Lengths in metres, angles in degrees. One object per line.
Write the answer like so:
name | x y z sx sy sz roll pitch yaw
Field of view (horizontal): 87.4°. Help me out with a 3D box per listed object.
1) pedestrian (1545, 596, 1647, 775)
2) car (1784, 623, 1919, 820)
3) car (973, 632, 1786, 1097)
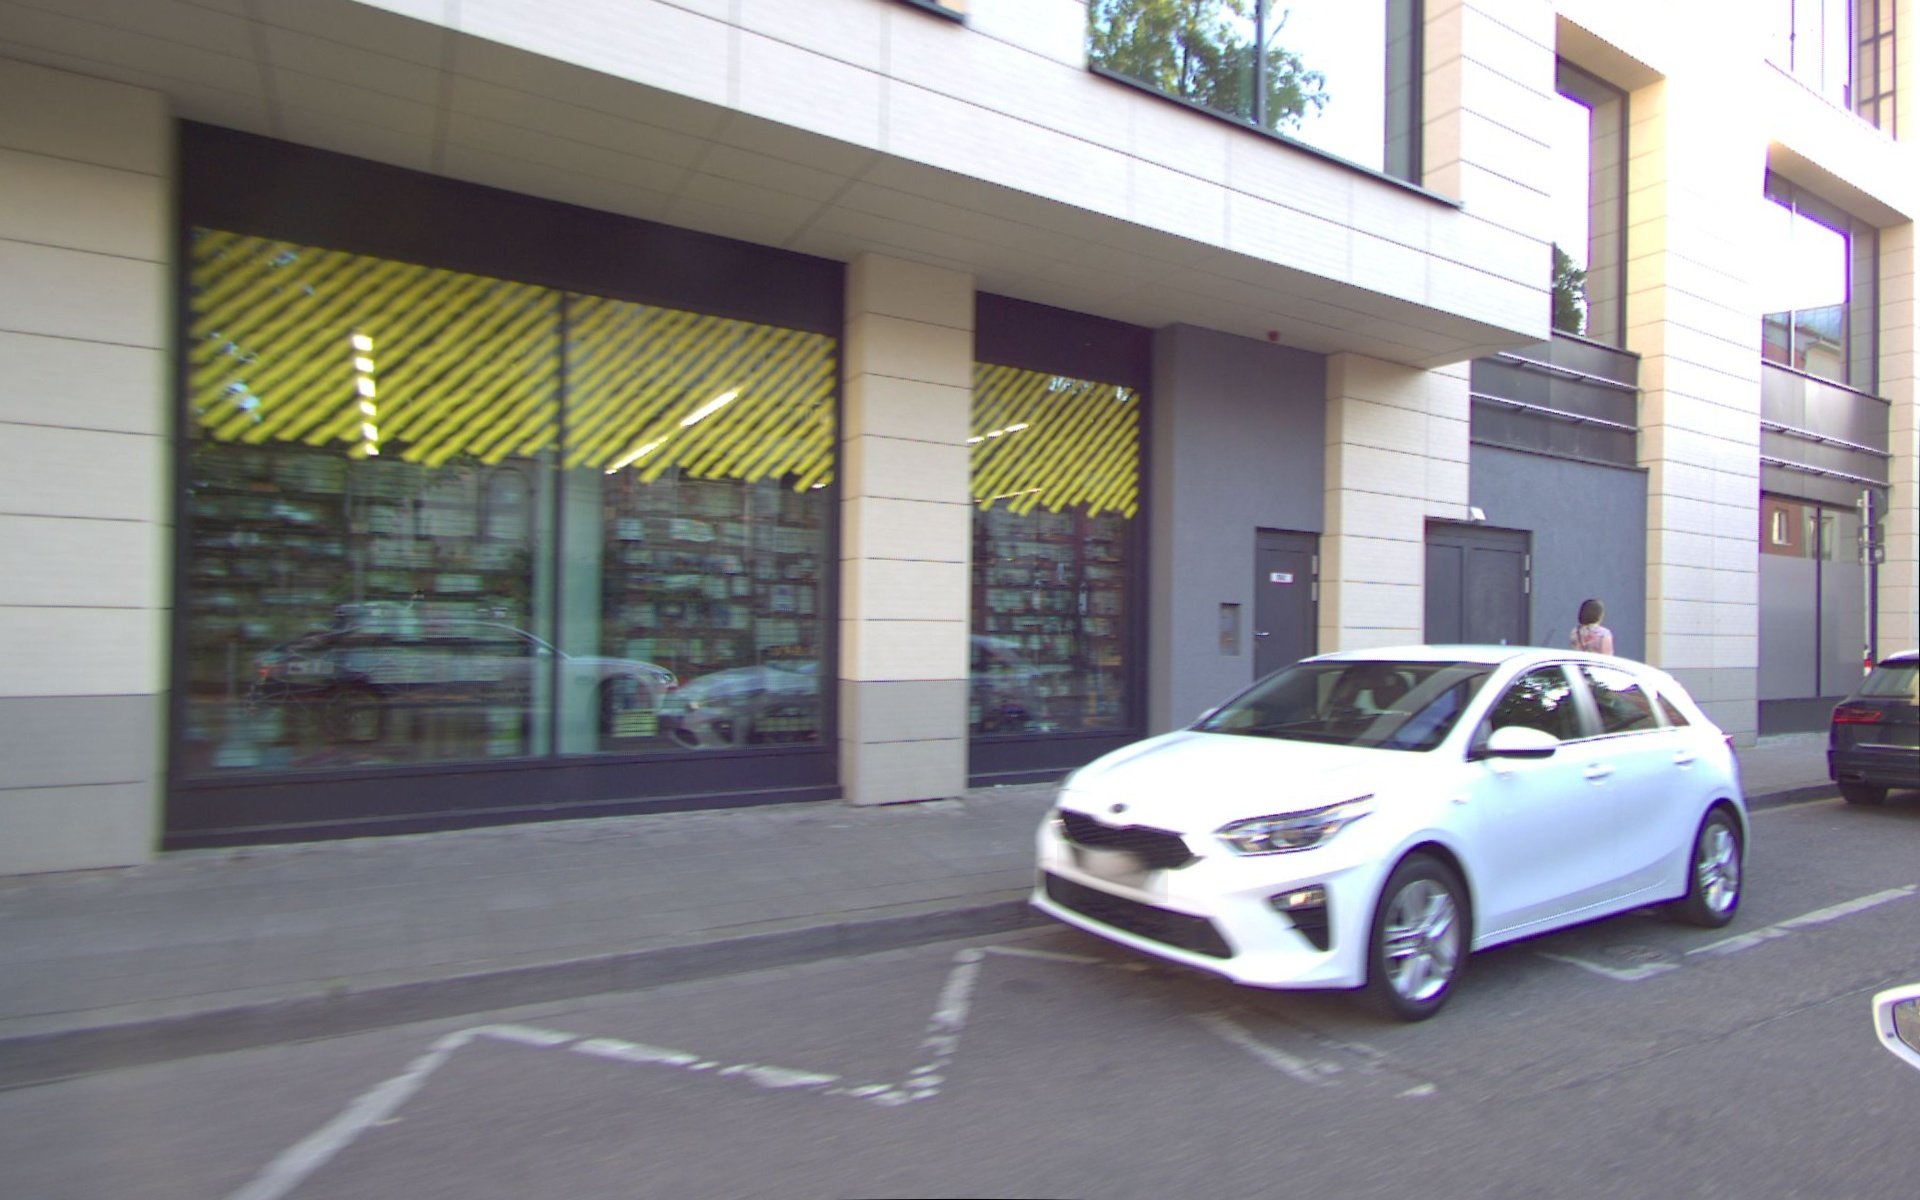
pedestrian | 6.552 0.855 10.360 0.640 1.767 0.669 2 -1 -30
car | 9.999 1.075 9.467 4.631 1.619 1.876 2 -1 -29
car | 2.296 0.939 5.143 4.184 1.472 1.768 2 -1 -32
